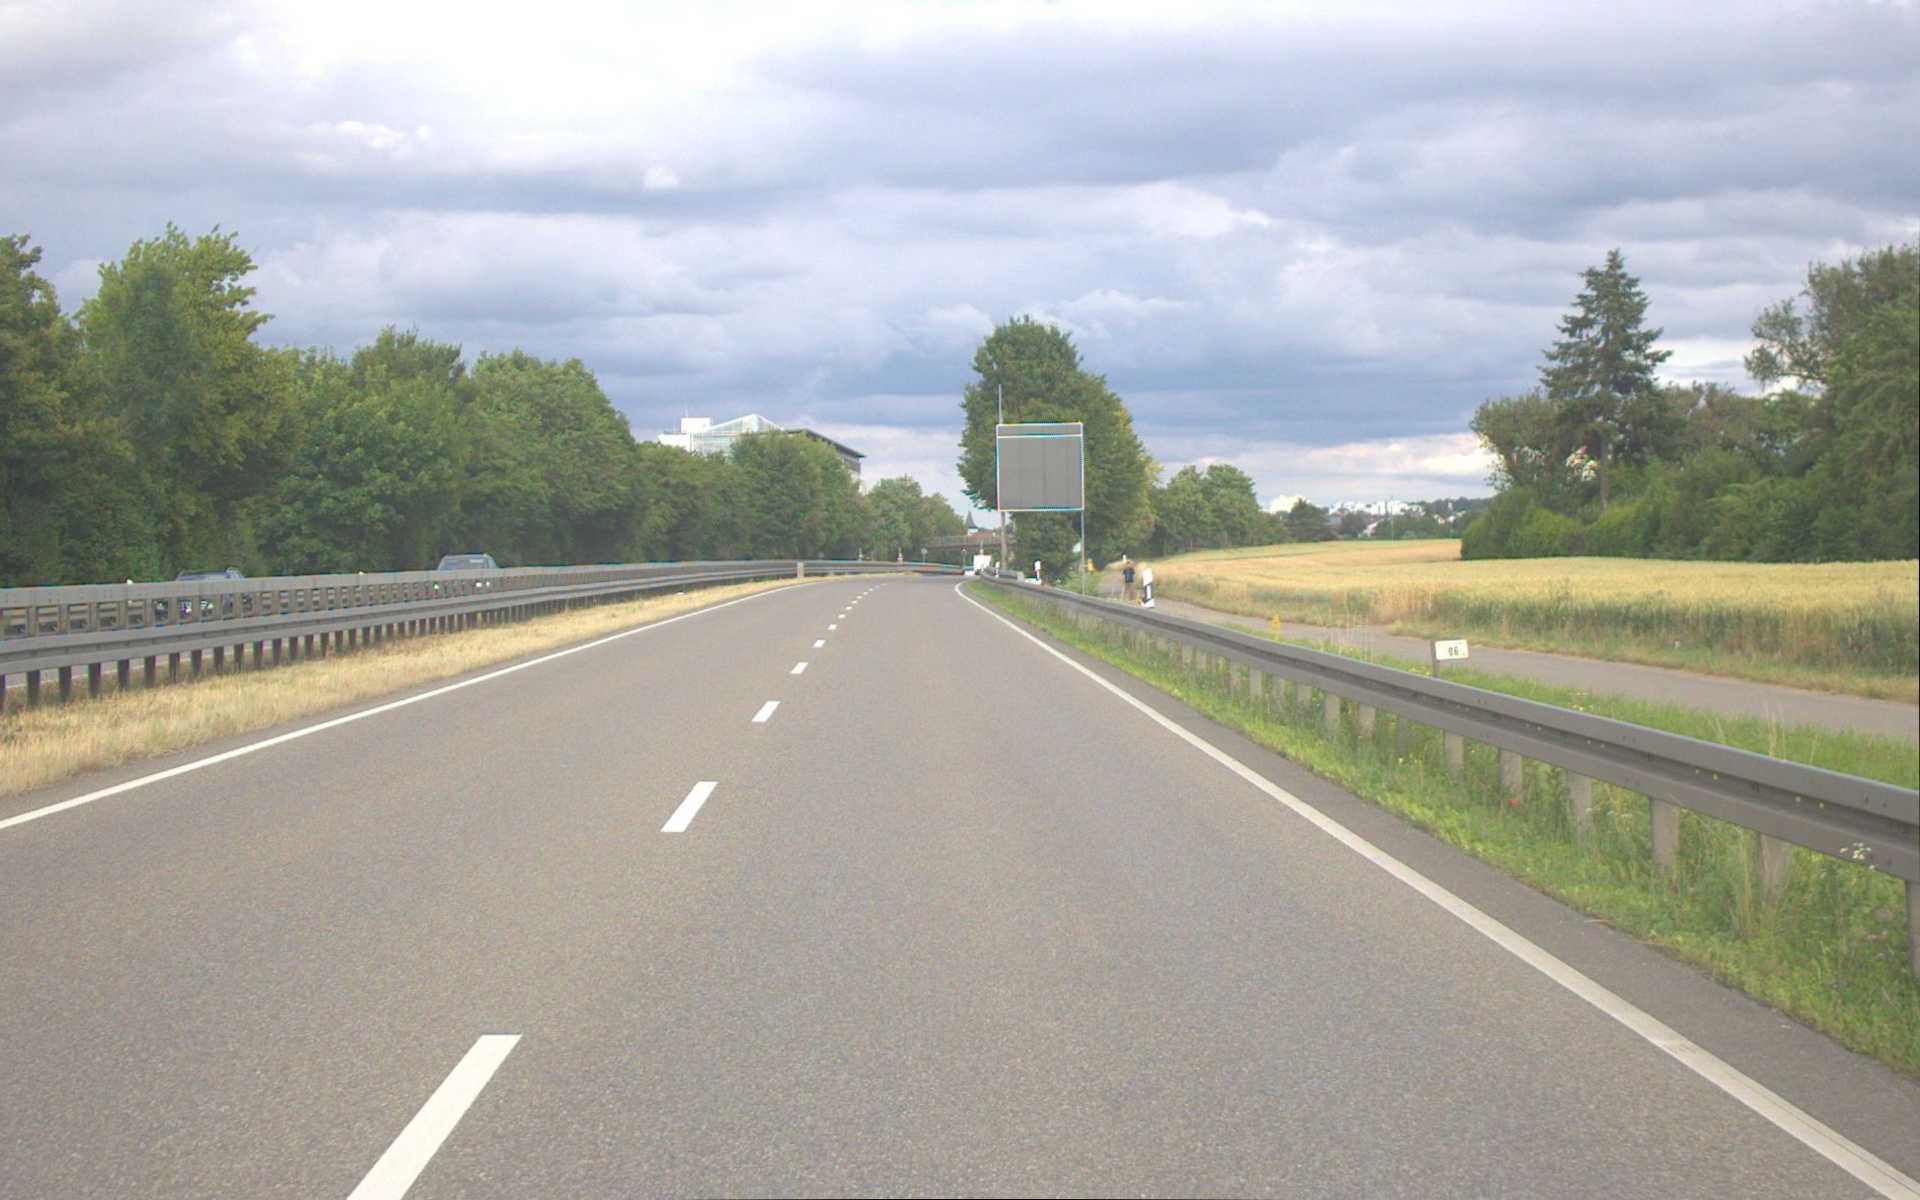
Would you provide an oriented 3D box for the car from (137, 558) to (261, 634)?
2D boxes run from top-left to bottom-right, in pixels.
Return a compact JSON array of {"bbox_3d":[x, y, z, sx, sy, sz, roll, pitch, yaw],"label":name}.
[{"bbox_3d":[-17.595,-0.121,79.645,1.797,1.620,4.483,-2,1,0],"label":"car"}]

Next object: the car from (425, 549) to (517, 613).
[{"bbox_3d":[-13.446,-0.541,94.753,1.797,1.620,4.483,-2,1,0],"label":"car"}]

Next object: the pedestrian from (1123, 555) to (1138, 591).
[{"bbox_3d":[7.784,-1.242,157.186,0.601,1.660,0.543,1,0,-3],"label":"pedestrian"}]
